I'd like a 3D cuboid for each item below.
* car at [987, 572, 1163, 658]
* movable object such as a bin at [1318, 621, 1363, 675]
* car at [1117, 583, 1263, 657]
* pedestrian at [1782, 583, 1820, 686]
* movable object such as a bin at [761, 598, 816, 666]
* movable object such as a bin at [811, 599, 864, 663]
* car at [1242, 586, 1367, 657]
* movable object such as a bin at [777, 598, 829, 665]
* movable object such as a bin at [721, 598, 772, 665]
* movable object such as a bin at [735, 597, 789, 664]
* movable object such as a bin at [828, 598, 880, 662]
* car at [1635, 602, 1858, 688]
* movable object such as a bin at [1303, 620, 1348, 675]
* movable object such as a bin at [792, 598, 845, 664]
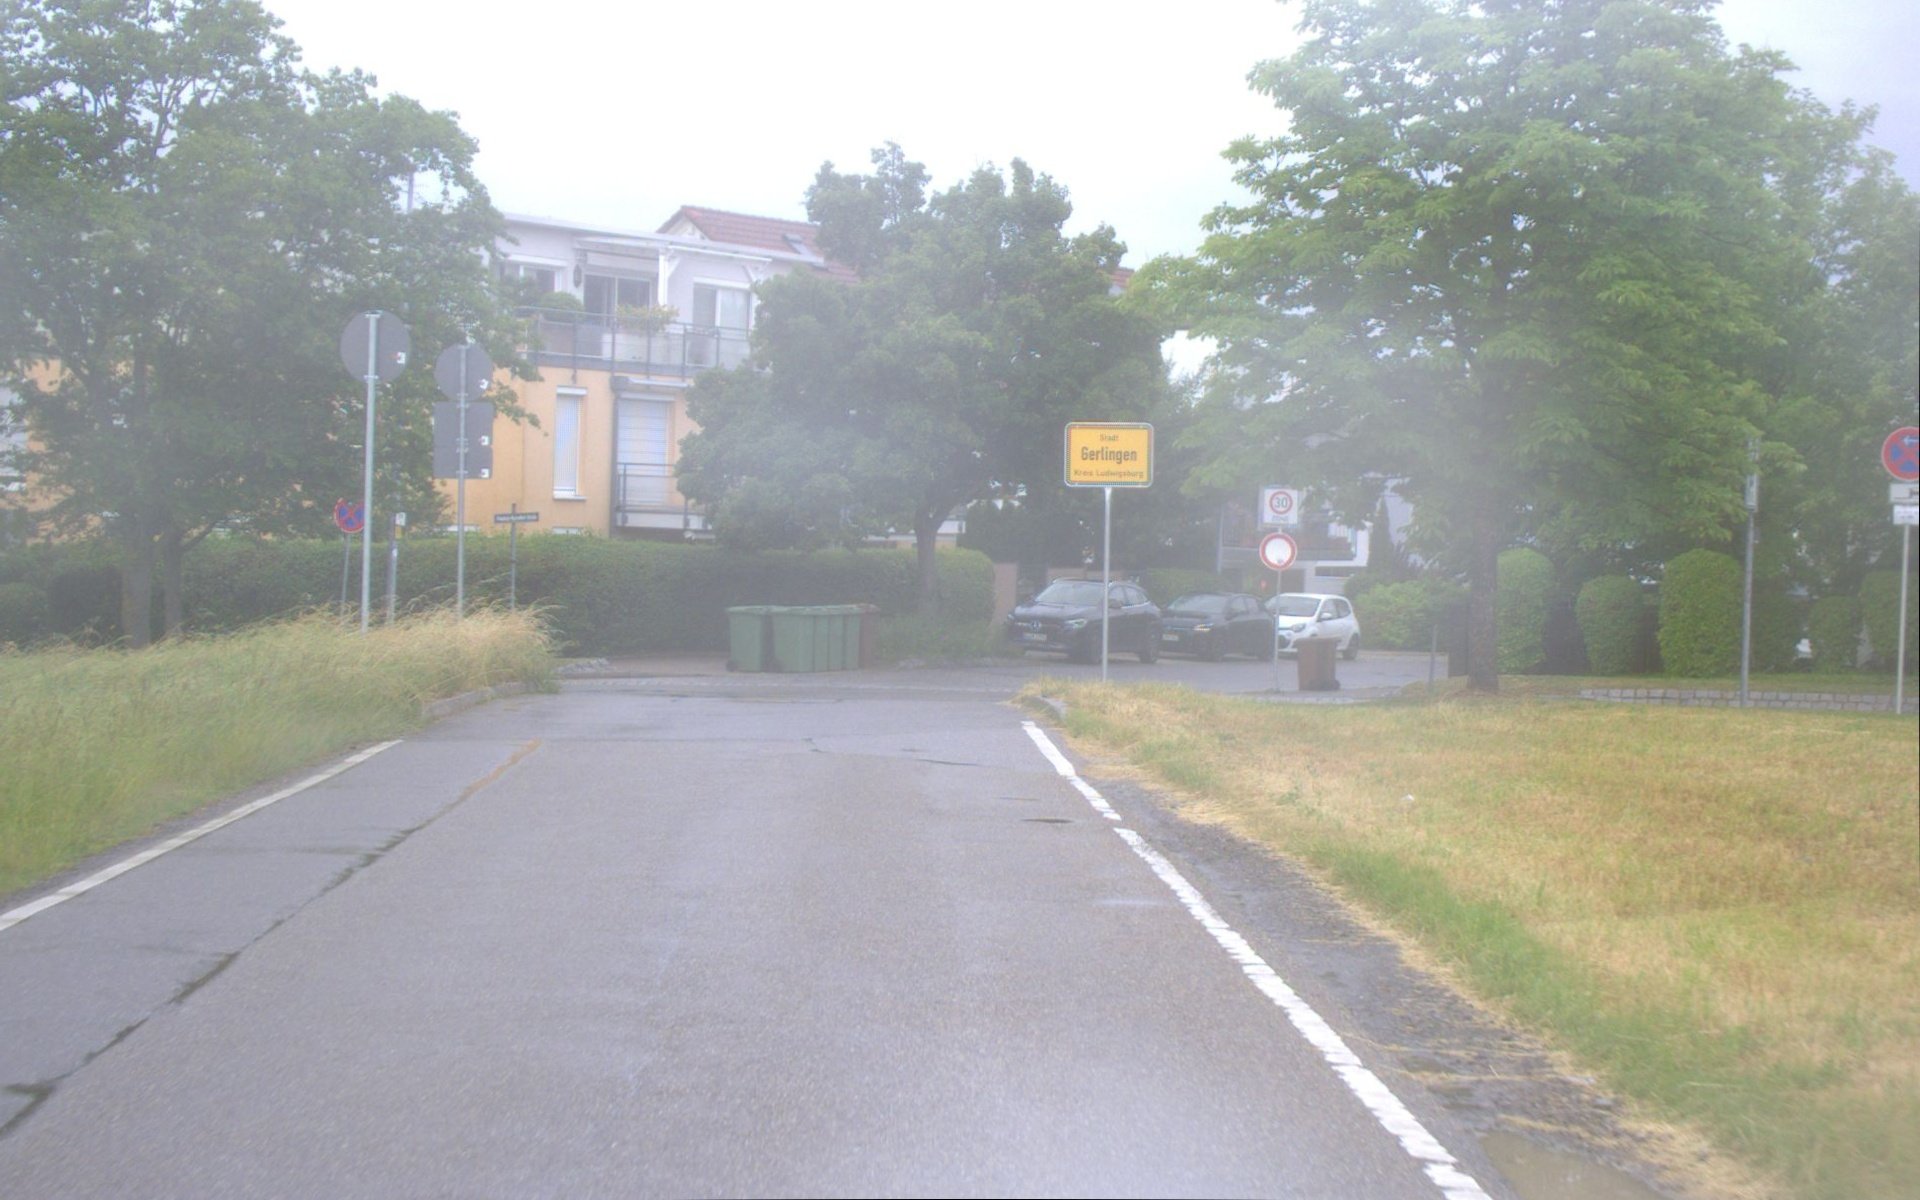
[{"bbox_3d":[2.276,0.302,67.147,1.778,1.513,4.131,4,1,27],"label":"car"},{"bbox_3d":[6.653,0.842,60.062,0.571,0.928,0.529,2,0,32],"label":"movable object such as a bin"},{"bbox_3d":[4.859,0.429,72.365,1.638,1.404,3.599,4,1,29],"label":"car"},{"bbox_3d":[16.424,0.670,67.155,0.558,2.007,0.524,1,0,30],"label":"pedestrian"},{"bbox_3d":[-2.777,0.519,55.776,0.695,1.071,0.601,1,1,19],"label":"movable object such as a bin"},{"bbox_3d":[-2.046,0.514,57.509,0.695,1.051,0.605,1,1,19],"label":"movable object such as a bin"},{"bbox_3d":[7.722,0.489,76.862,1.513,1.471,3.268,4,1,30],"label":"car"},{"bbox_3d":[-2.574,0.514,56.350,0.695,1.071,0.543,1,1,19],"label":"movable object such as a bin"},{"bbox_3d":[-3.480,0.506,56.019,0.666,1.070,0.543,1,1,20],"label":"movable object such as a bin"},{"bbox_3d":[-3.266,0.496,56.615,0.695,1.069,0.597,1,1,19],"label":"movable object such as a bin"},{"bbox_3d":[-1.793,0.502,58.174,0.695,1.051,0.605,1,1,19],"label":"movable object such as a bin"},{"bbox_3d":[15.746,0.879,68.907,3.995,1.658,1.776,0,0,35],"label":"car"},{"bbox_3d":[6.340,0.831,59.566,0.571,0.928,0.529,2,0,32],"label":"movable object such as a bin"},{"bbox_3d":[-2.338,0.510,56.941,0.695,1.063,0.578,1,1,19],"label":"movable object such as a bin"}]
